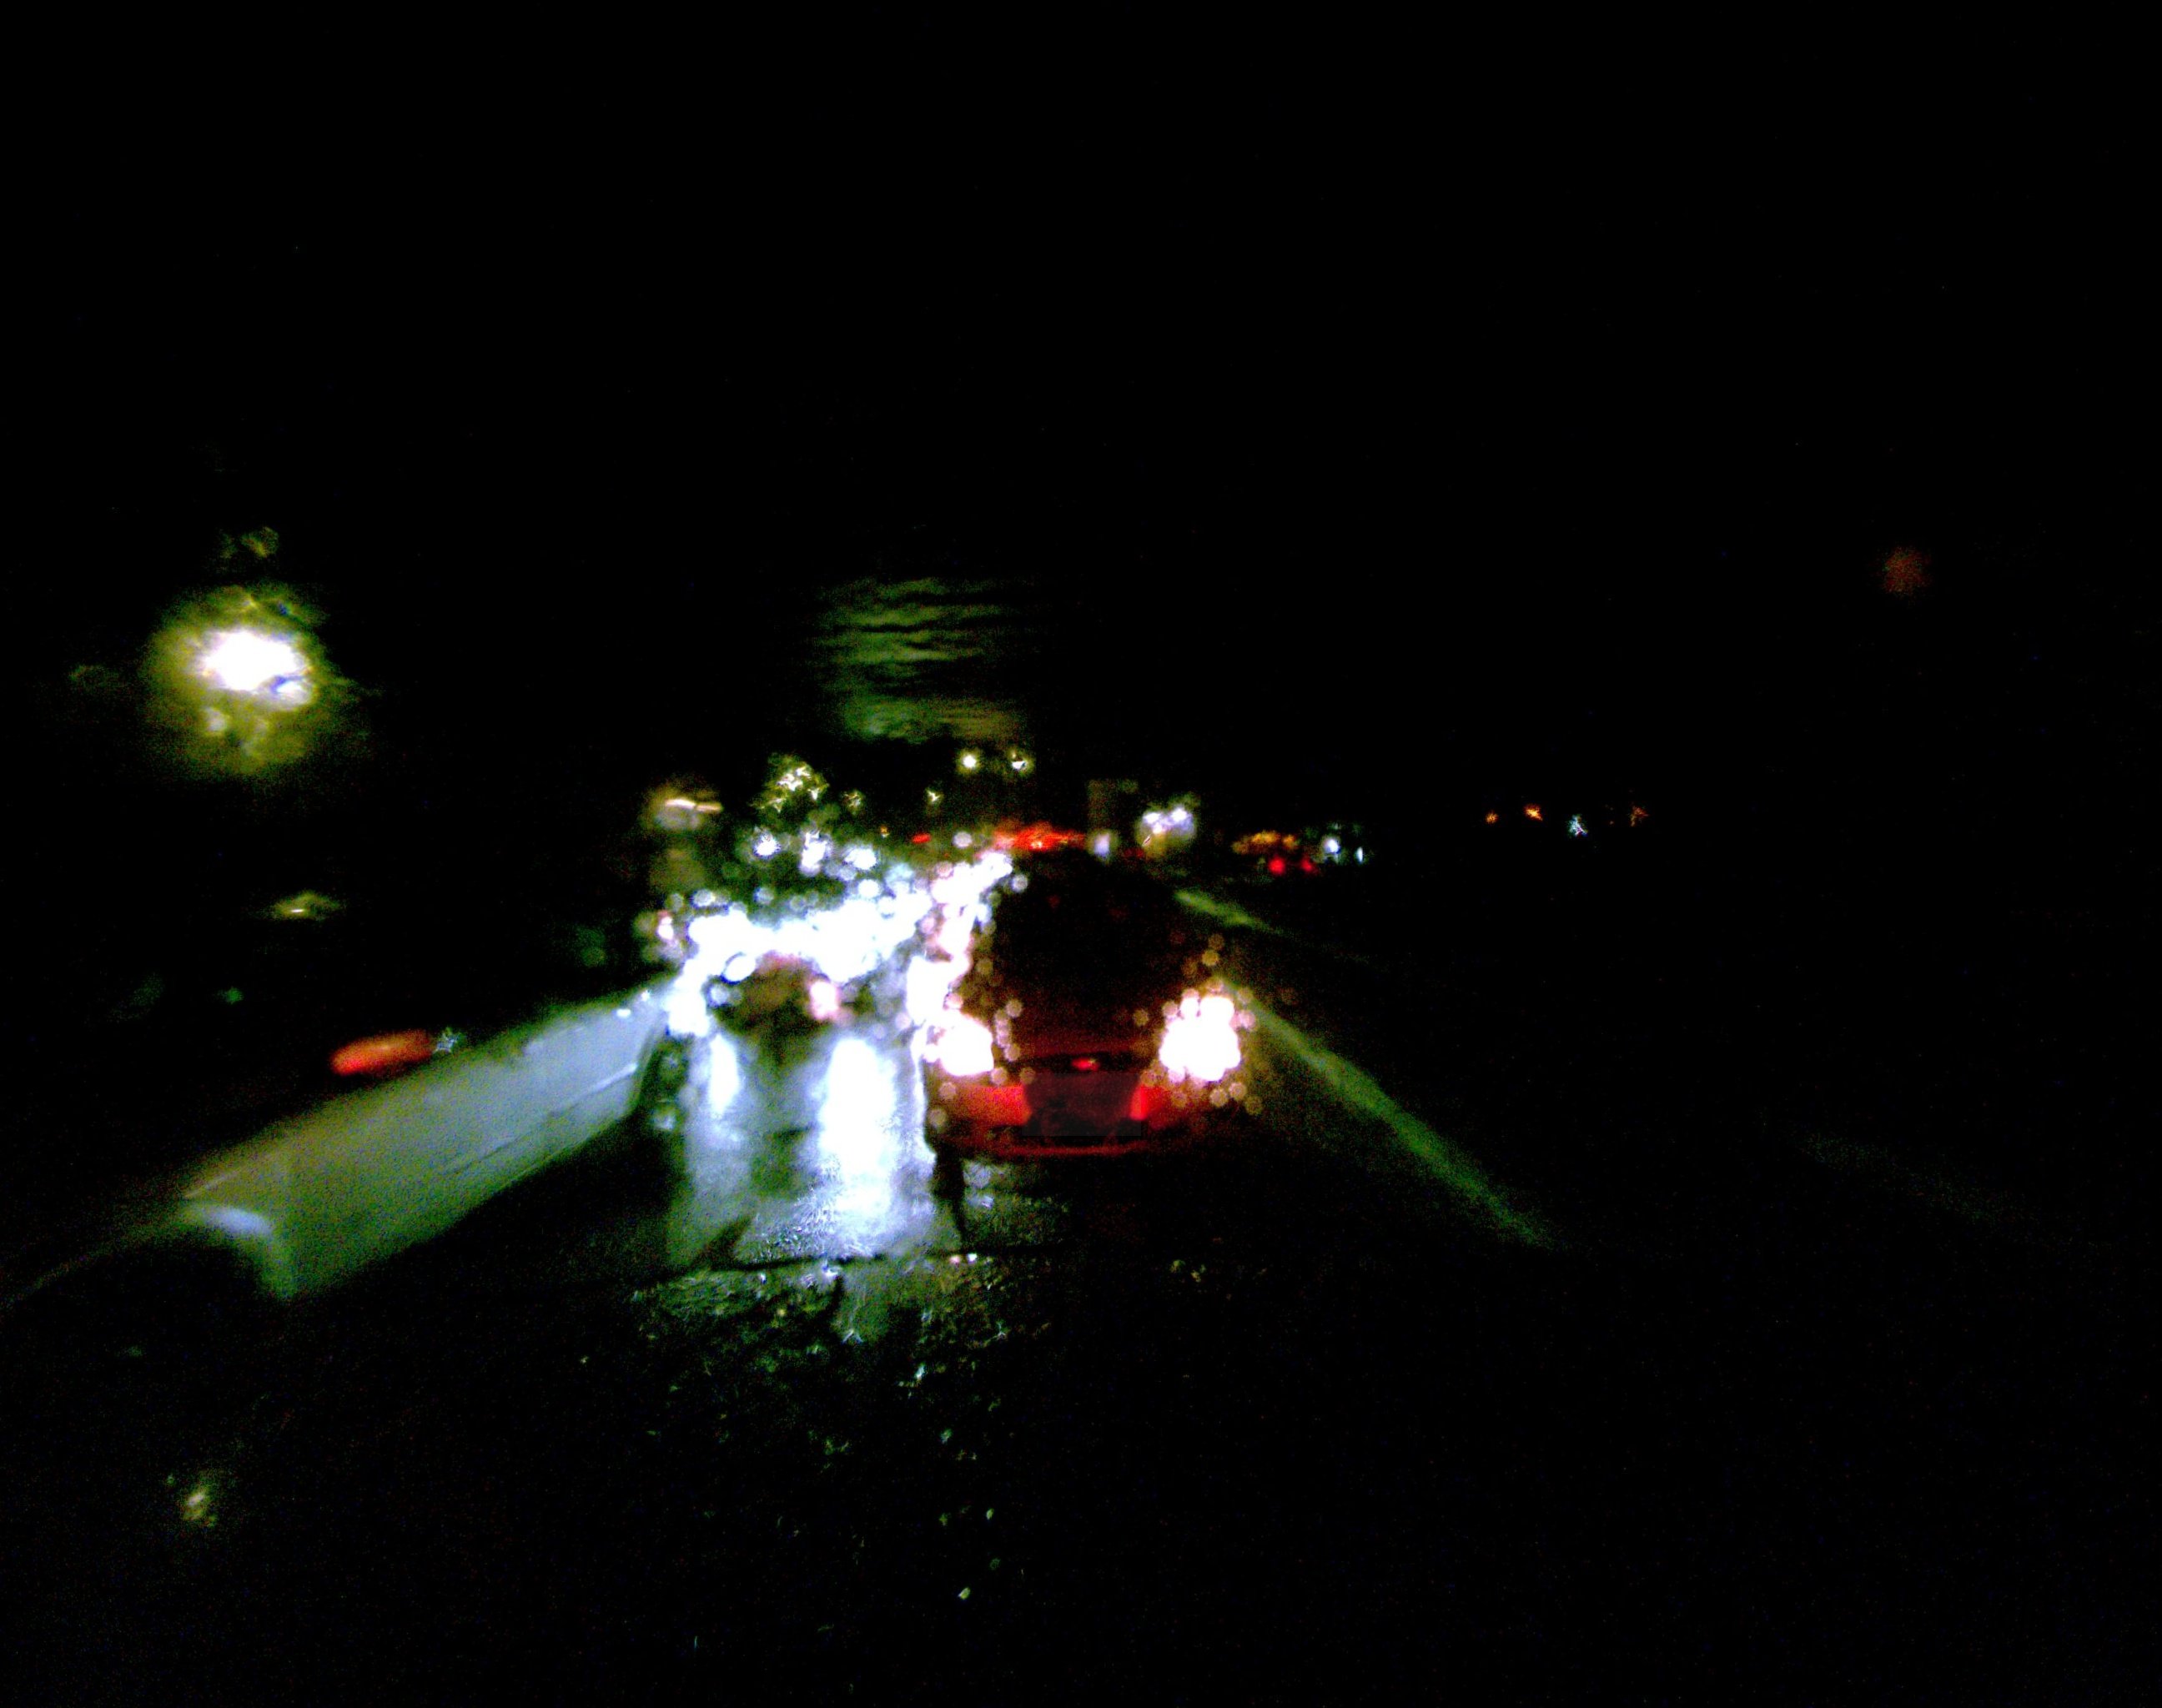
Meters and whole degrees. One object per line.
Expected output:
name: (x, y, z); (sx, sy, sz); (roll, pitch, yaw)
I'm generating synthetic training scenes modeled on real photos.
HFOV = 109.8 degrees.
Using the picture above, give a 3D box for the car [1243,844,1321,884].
car: (8.694, 0.438, 33.205); (1.912, 1.578, 4.079); (1, -1, -7)

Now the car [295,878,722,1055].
car: (-6.335, 1.097, 9.290); (1.853, 1.476, 4.628); (-1, 0, -3)

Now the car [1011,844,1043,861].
car: (-5.783, -0.125, 81.233); (1.973, 1.731, 4.909); (-3, 1, -21)

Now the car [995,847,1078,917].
car: (-1.108, 0.632, 19.702); (1.881, 1.534, 3.999); (-2, 1, -2)

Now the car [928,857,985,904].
car: (-4.379, 0.891, 27.200); (1.683, 1.463, 3.998); (-2, 1, -5)

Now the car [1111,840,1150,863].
car: (4.139, -0.218, 63.776); (1.860, 1.739, 4.500); (-2, 1, -15)

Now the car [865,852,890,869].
car: (-19.076, 0.578, 71.111); (1.884, 1.463, 3.993); (-3, 1, -21)

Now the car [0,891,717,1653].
car: (-3.184, 0.996, 2.679); (1.792, 1.359, 3.999); (-2, 2, 0)

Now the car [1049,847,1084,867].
car: (-1.364, 0.286, 70.072); (1.911, 1.731, 4.391); (-3, 1, -18)

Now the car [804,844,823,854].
car: (-43.971, -0.786, 124.875); (1.885, 1.463, 3.990); (-3, 1, -35)

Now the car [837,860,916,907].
car: (-7.101, 0.956, 26.818); (1.853, 1.447, 4.500); (-1, 0, -5)

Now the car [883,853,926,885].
car: (-9.220, 0.732, 39.980); (1.854, 1.423, 4.496); (-2, 2, -10)

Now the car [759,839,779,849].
car: (-58.286, -1.806, 141.832); (1.975, 1.731, 4.905); (-3, 1, -40)

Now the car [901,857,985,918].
car: (-3.917, 0.897, 22.172); (1.629, 1.494, 3.999); (-2, 1, 1)

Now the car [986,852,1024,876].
car: (-5.221, 0.670, 51.701); (1.855, 1.476, 4.479); (-1, 0, -16)

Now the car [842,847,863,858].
car: (-31.707, -0.229, 105.347); (1.885, 1.463, 3.991); (-3, 1, -29)

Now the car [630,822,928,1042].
car: (-3.366, 0.737, 9.577); (1.999, 2.076, 4.347); (-2, 1, -1)

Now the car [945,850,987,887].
car: (-5.384, 0.645, 36.046); (1.743, 1.581, 3.997); (-2, 1, -6)

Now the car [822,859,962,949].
car: (-3.738, 0.931, 15.739); (1.869, 1.503, 3.766); (-2, 1, 1)

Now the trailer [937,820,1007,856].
trailer: (-14.448, -1.965, 99.024); (3.975, 4.152, 13.888); (-3, 1, -30)

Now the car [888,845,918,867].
car: (-13.141, 0.098, 55.980); (1.855, 1.423, 4.494); (-2, 2, -17)

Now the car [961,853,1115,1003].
car: (-0.464, 0.839, 10.617); (1.683, 1.591, 3.996); (-2, 1, 1)

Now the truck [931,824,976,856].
truck: (-17.539, -1.906, 104.480); (3.975, 4.152, 6.362); (-3, 1, -30)

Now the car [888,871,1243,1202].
car: (-0.044, 0.896, 5.507); (1.603, 1.360, 3.942); (-2, 1, 1)
